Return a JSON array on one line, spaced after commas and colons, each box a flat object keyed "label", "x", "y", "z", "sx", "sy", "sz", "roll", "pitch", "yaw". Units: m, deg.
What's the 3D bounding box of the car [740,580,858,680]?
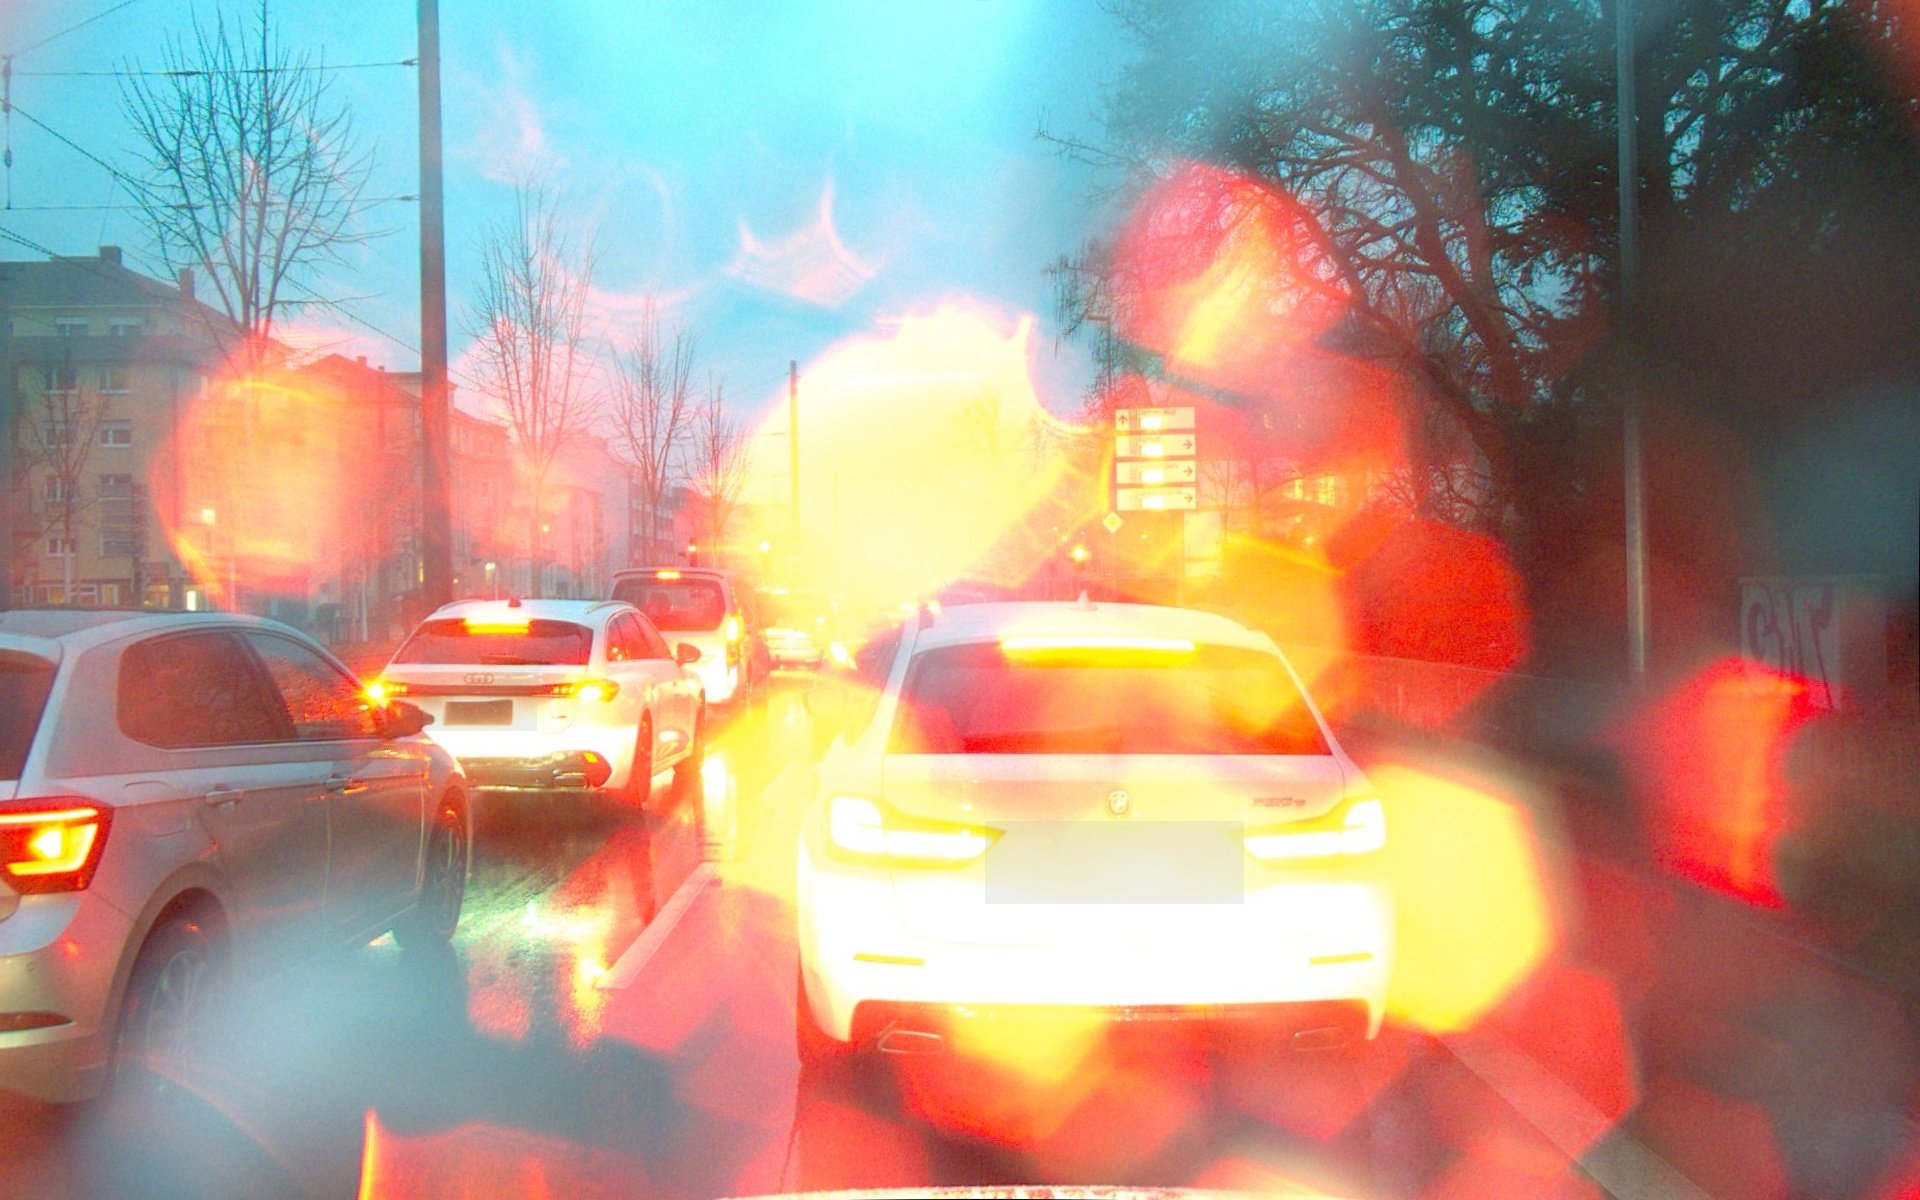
[{"label": "car", "x": -2.830, "y": 0.491, "z": 29.819, "sx": 1.770, "sy": 1.674, "sz": 3.999, "roll": 0, "pitch": 0, "yaw": -1}]

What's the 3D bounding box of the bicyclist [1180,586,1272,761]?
[{"label": "bicyclist", "x": 2.232, "y": 0.599, "z": 13.962, "sx": 0.632, "sy": 1.413, "sz": 0.890, "roll": -1, "pitch": 0, "yaw": 1}]

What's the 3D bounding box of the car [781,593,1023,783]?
[{"label": "car", "x": -0.481, "y": 0.680, "z": 15.062, "sx": 1.896, "sy": 1.483, "sz": 4.162, "roll": 0, "pitch": 0, "yaw": -1}]

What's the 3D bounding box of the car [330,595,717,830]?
[{"label": "car", "x": -3.005, "y": 0.693, "z": 12.430, "sx": 1.809, "sy": 1.430, "sz": 4.612, "roll": 0, "pitch": 0, "yaw": -2}]

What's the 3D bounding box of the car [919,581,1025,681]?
[{"label": "car", "x": 0.173, "y": 0.506, "z": 29.674, "sx": 1.770, "sy": 1.674, "sz": 3.999, "roll": 0, "pitch": 0, "yaw": -1}]

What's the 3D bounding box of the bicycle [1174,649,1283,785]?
[{"label": "bicycle", "x": 2.246, "y": 0.955, "z": 14.062, "sx": 0.632, "sy": 0.983, "sz": 2.047, "roll": -1, "pitch": 0, "yaw": 1}]

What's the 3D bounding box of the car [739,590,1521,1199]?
[{"label": "car", "x": 0.401, "y": 0.733, "z": 6.219, "sx": 1.958, "sy": 1.534, "sz": 4.162, "roll": 0, "pitch": 0, "yaw": -1}]

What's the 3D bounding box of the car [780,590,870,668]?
[{"label": "car", "x": -3.042, "y": 0.615, "z": 37.843, "sx": 1.770, "sy": 1.674, "sz": 3.999, "roll": 0, "pitch": 0, "yaw": -1}]

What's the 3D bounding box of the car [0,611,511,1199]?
[{"label": "car", "x": -2.886, "y": 0.751, "z": 5.648, "sx": 1.727, "sy": 1.395, "sz": 3.980, "roll": 0, "pitch": 0, "yaw": -2}]

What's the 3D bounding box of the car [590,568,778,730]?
[{"label": "car", "x": -3.276, "y": 0.543, "z": 20.426, "sx": 1.757, "sy": 1.766, "sz": 4.534, "roll": 0, "pitch": 0, "yaw": -3}]
